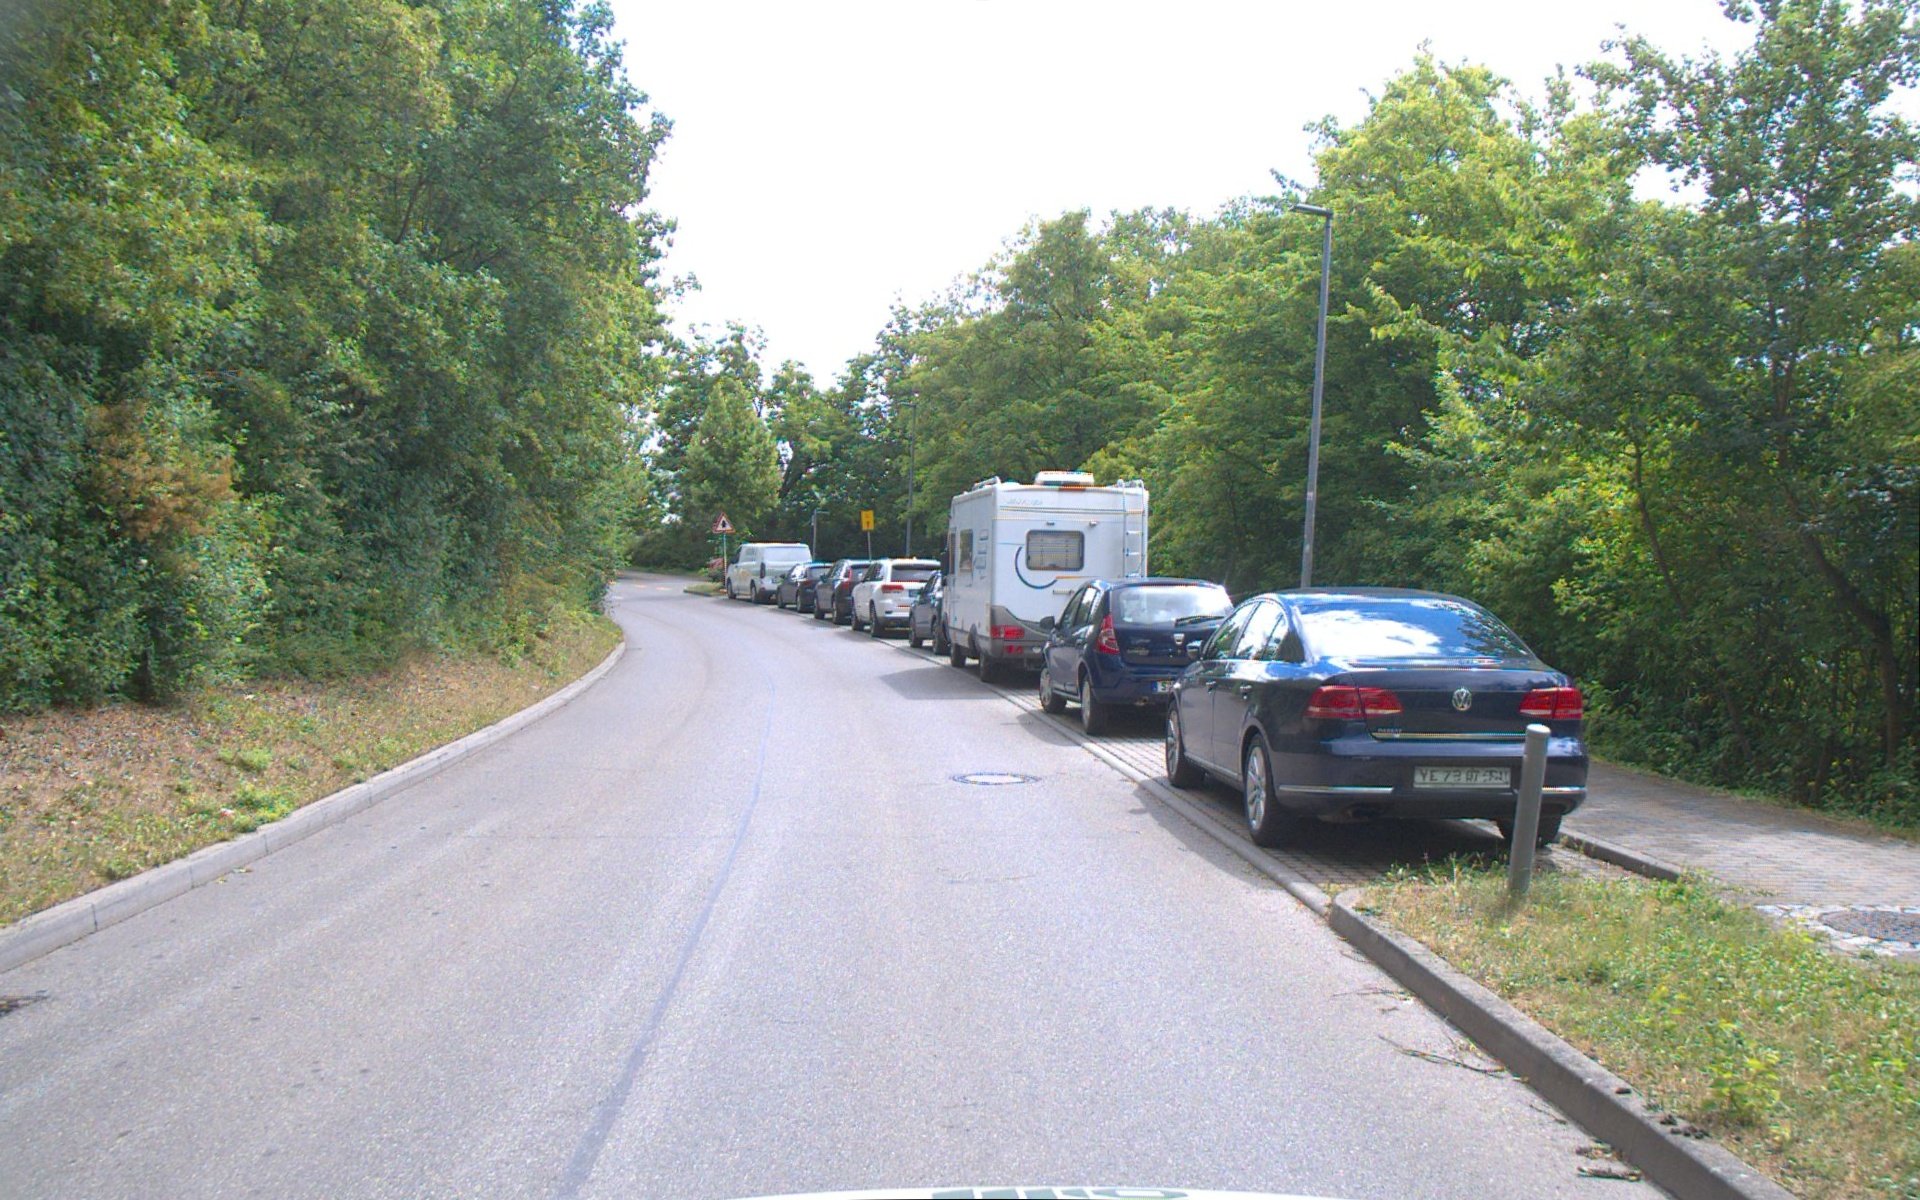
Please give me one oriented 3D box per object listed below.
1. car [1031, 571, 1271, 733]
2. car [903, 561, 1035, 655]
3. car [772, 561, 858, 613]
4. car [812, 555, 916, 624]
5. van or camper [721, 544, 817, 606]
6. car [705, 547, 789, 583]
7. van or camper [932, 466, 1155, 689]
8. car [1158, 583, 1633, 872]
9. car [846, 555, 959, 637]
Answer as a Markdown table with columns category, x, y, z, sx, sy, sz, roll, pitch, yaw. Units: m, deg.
| category | x | y | z | sx | sy | sz | roll | pitch | yaw |
| --- | --- | --- | --- | --- | --- | --- | --- | --- | --- |
| car | 1.927 | 0.503 | 17.823 | 1.696 | 1.545 | 3.883 | 0 | 0 | -7 |
| car | 0.096 | 0.103 | 31.498 | 1.681 | 1.619 | 3.988 | -2 | 2 | -12 |
| car | -4.498 | -0.422 | 50.799 | 1.770 | 1.489 | 3.980 | 1 | 1 | -18 |
| car | -2.617 | -0.332 | 44.120 | 1.960 | 1.654 | 4.263 | -2 | 3 | -14 |
| van or camper | -6.540 | -0.908 | 56.216 | 1.966 | 1.953 | 5.232 | -1 | 3 | -22 |
| car | -9.659 | -1.599 | 74.839 | 3.483 | 1.506 | 1.773 | 0 | 3 | -19 |
| van or camper | 1.081 | -0.348 | 25.302 | 2.288 | 2.919 | 6.141 | 2 | 1 | -7 |
| car | 2.517 | 0.637 | 10.709 | 1.740 | 1.459 | 4.331 | 0 | 1 | -3 |
| car | -1.398 | -0.137 | 38.457 | 1.838 | 1.718 | 4.566 | 2 | 1 | -12 |
